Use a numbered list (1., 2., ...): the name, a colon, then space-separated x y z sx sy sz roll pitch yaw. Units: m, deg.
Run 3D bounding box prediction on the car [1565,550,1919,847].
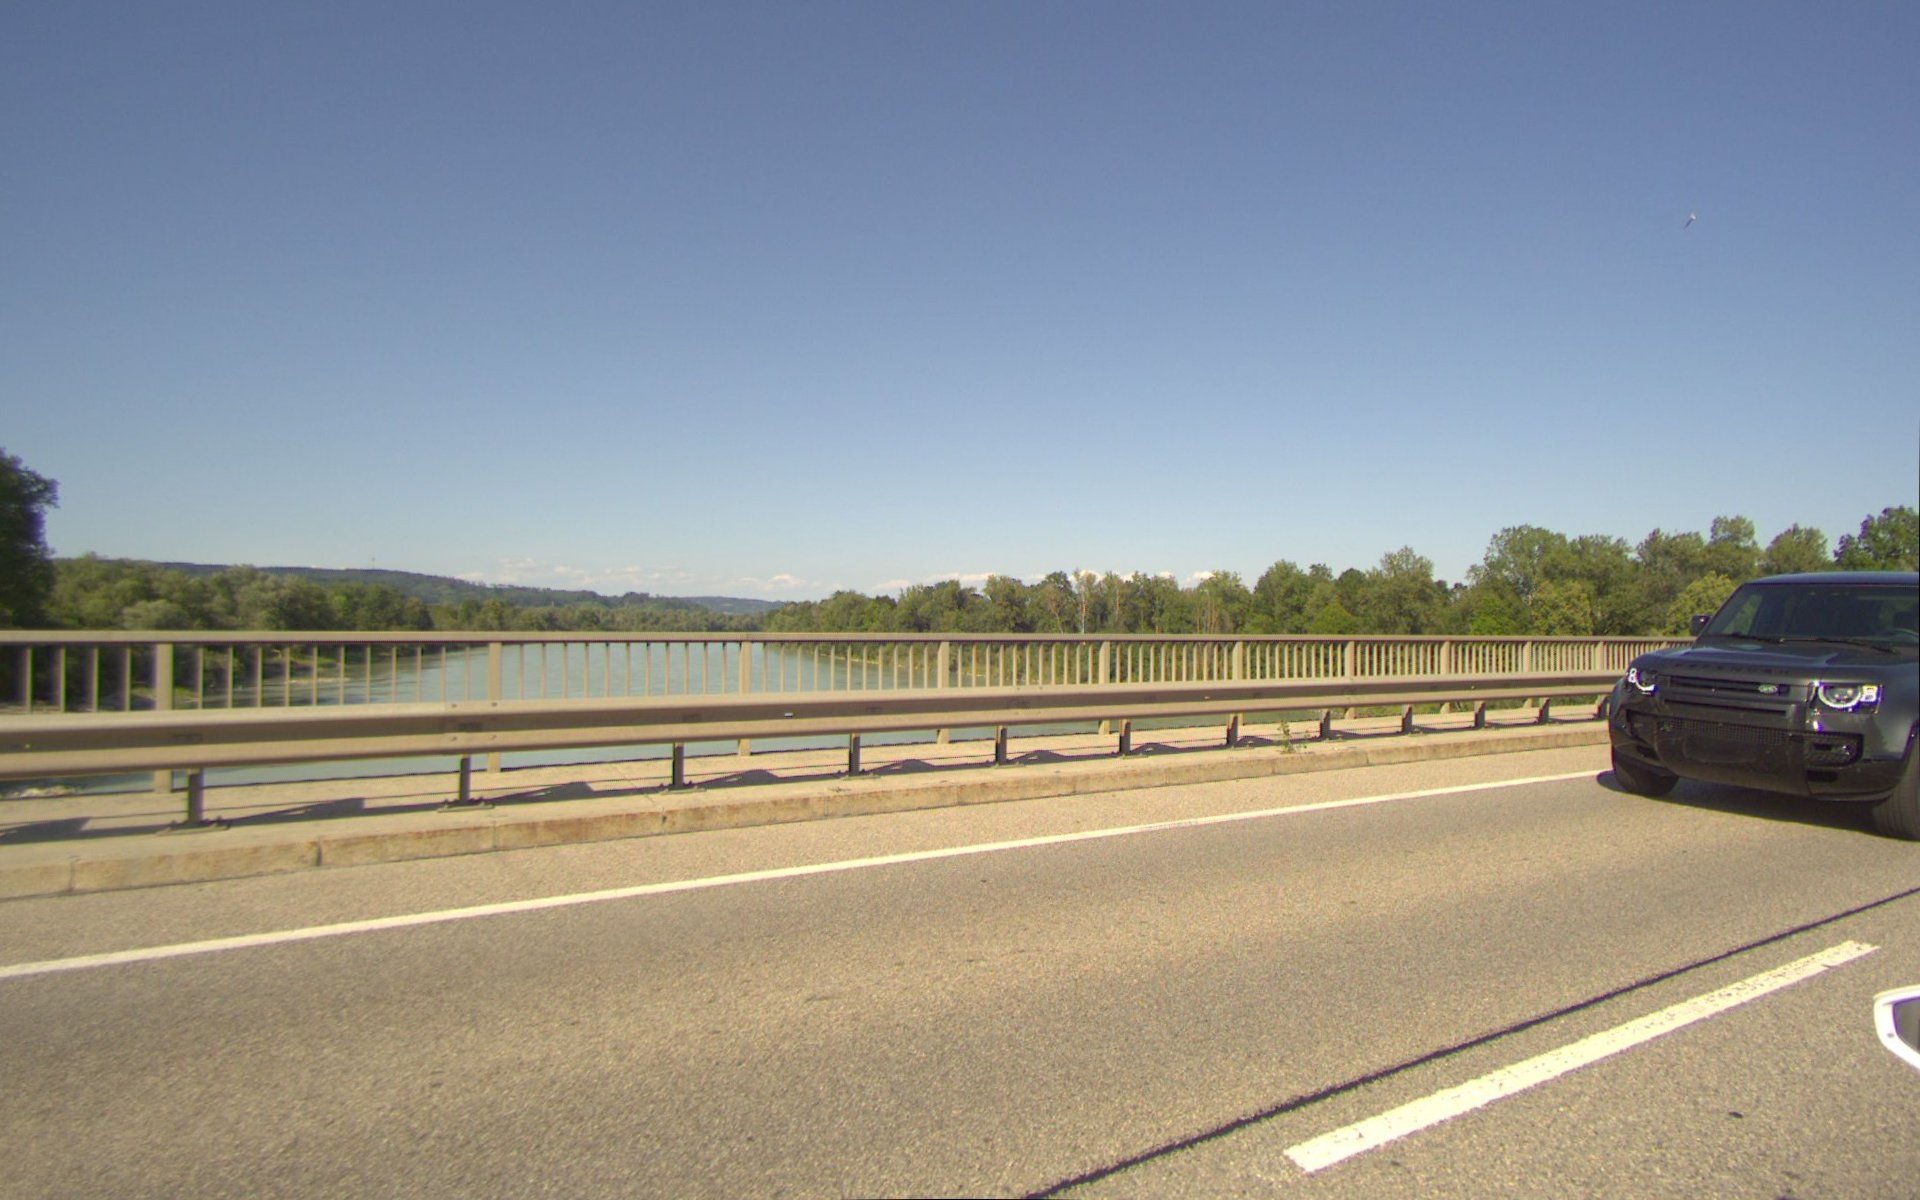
1. car: 7.596 0.670 8.602 5.011 1.899 2.027 1 0 -31
